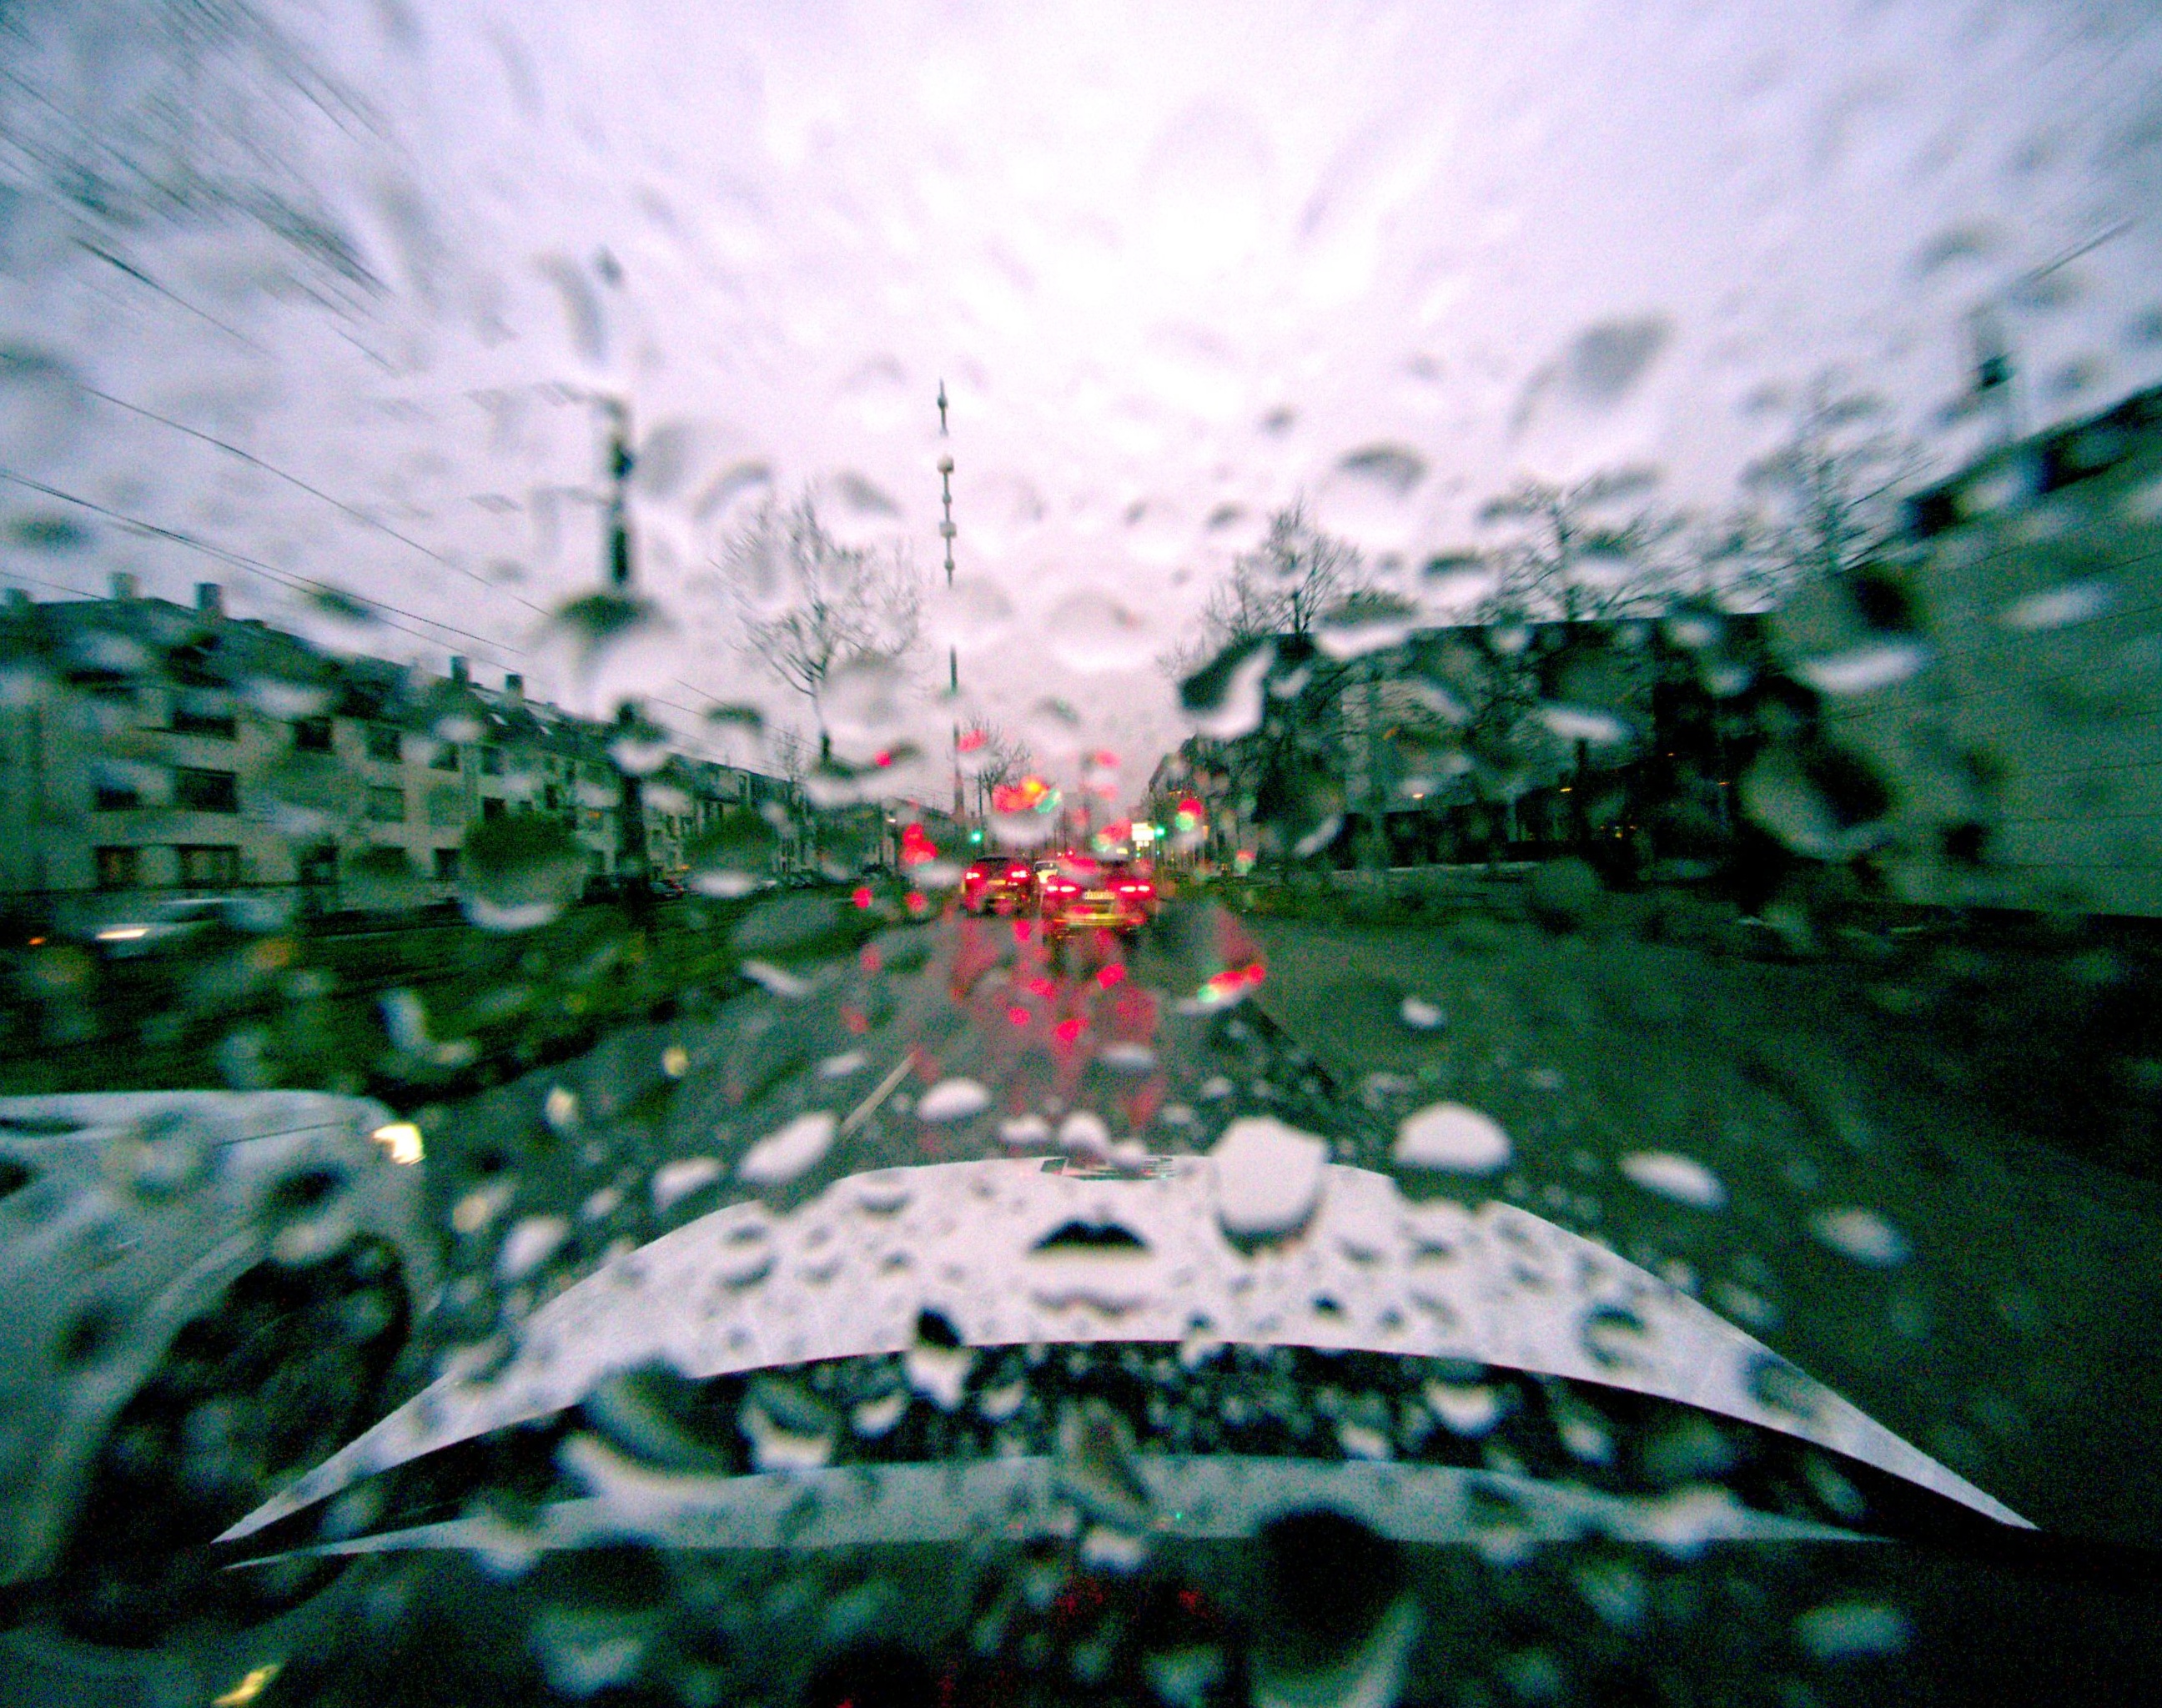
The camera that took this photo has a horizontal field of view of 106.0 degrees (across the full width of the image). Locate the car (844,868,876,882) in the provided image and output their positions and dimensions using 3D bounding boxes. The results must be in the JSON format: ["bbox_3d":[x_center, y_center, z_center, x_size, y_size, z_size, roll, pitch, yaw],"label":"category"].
[{"bbox_3d":[-24.892,2.359,91.621,3.800,1.589,1.753,-1,-1,43],"label":"car"}]

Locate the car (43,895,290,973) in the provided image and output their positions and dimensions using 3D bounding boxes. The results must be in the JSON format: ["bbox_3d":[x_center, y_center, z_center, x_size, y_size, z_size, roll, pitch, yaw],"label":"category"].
[{"bbox_3d":[-21.620,1.826,19.515,1.539,1.504,3.785,-1,-1,2],"label":"car"}]

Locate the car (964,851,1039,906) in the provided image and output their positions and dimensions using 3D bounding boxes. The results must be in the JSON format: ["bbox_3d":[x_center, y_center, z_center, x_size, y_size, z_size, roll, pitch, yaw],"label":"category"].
[{"bbox_3d":[-2.242,0.679,23.857,1.812,1.450,3.999,-1,-1,0],"label":"car"}]

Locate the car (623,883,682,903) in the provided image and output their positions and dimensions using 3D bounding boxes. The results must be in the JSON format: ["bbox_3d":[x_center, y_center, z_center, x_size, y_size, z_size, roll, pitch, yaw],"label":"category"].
[{"bbox_3d":[-26.245,2.373,49.889,3.525,1.141,1.748,-1,-1,34],"label":"car"}]

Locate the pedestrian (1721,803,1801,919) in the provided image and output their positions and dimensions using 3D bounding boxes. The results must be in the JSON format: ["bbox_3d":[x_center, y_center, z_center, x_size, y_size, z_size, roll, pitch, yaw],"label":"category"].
[{"bbox_3d":[9.785,0.100,11.745,0.667,1.625,0.617,-1,-1,17],"label":"pedestrian"}]

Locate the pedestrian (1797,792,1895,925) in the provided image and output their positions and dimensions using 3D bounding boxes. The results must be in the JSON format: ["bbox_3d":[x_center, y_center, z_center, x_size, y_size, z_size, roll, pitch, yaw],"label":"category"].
[{"bbox_3d":[9.587,0.062,10.233,0.667,1.612,0.617,-1,-1,15],"label":"pedestrian"}]

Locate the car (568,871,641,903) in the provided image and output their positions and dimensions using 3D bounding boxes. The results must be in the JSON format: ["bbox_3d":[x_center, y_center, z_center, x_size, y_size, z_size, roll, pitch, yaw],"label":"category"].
[{"bbox_3d":[-26.869,1.817,45.874,4.598,1.723,1.845,-1,-1,35],"label":"car"}]

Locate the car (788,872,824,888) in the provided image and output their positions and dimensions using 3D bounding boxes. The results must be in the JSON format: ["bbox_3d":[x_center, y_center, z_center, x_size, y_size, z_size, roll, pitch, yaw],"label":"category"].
[{"bbox_3d":[-25.312,2.339,74.883,3.342,1.422,1.680,-1,-1,40],"label":"car"}]

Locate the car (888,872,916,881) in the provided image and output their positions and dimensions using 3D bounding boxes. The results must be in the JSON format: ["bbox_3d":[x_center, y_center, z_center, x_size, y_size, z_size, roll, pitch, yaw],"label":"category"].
[{"bbox_3d":[-24.946,3.068,113.501,3.494,1.200,1.894,-1,-1,33],"label":"car"}]

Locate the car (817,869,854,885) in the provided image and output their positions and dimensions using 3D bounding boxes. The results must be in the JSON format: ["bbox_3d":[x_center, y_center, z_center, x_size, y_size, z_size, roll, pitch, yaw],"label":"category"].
[{"bbox_3d":[-25.582,2.387,84.840,4.109,1.541,1.680,-1,-1,37],"label":"car"}]

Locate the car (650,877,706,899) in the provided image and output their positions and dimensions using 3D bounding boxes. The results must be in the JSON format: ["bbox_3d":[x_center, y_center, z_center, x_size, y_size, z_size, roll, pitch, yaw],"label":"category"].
[{"bbox_3d":[-26.046,2.179,52.608,3.534,1.309,1.697,-1,-1,34],"label":"car"}]

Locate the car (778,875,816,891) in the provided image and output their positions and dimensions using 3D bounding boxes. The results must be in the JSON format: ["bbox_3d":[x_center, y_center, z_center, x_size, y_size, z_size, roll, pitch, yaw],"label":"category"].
[{"bbox_3d":[-25.220,2.557,72.306,2.899,1.336,1.749,-1,-1,34],"label":"car"}]

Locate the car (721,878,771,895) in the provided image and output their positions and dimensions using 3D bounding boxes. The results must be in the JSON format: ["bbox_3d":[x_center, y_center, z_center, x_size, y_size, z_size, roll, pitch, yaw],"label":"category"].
[{"bbox_3d":[-25.581,2.479,62.165,3.772,1.172,1.749,-1,-1,34],"label":"car"}]

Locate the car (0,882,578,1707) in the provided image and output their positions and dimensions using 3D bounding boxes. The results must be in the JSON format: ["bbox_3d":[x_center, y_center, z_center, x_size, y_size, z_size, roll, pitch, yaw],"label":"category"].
[{"bbox_3d":[-2.652,0.819,0.744,1.681,1.474,4.005,-1,-1,4],"label":"car"}]

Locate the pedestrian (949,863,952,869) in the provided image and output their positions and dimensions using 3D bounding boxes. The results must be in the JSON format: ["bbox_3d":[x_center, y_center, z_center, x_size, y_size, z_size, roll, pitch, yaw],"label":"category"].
[{"bbox_3d":[-25.384,2.413,158.765,0.348,1.184,0.429,0,-1,-39],"label":"pedestrian"}]

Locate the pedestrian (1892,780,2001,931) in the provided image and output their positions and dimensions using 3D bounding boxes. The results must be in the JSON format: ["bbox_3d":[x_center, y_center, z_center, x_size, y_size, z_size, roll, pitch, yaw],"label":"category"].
[{"bbox_3d":[10.594,0.020,9.995,0.667,1.778,0.617,-1,-1,15],"label":"pedestrian"}]

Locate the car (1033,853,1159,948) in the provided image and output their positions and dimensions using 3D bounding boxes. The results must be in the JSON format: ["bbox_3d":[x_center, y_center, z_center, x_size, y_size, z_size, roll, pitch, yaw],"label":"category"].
[{"bbox_3d":[0.280,0.766,14.713,1.986,1.483,3.700,-1,-1,1],"label":"car"}]

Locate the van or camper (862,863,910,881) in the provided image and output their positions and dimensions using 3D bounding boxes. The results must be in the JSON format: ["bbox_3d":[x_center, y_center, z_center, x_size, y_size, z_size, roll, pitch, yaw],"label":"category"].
[{"bbox_3d":[-25.359,2.319,105.792,6.792,2.360,2.013,-1,-1,35],"label":"van or camper"}]

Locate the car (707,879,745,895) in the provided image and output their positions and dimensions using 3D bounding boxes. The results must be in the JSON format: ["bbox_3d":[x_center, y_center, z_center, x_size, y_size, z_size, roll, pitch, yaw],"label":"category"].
[{"bbox_3d":[-25.764,2.401,59.083,2.361,1.048,1.446,-1,0,34],"label":"car"}]

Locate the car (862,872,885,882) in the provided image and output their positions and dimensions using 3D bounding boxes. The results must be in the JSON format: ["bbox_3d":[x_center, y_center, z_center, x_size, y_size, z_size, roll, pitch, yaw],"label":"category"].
[{"bbox_3d":[-24.979,2.729,98.075,2.851,1.204,1.397,-1,-1,43],"label":"car"}]

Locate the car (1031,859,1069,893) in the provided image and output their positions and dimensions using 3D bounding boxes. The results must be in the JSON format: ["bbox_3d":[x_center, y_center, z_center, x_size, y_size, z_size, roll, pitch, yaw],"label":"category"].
[{"bbox_3d":[-1.499,1.079,40.904,1.683,1.635,3.474,-1,-1,1],"label":"car"}]

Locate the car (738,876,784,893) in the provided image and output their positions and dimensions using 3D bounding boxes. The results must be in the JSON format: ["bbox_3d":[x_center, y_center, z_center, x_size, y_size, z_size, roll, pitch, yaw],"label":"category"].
[{"bbox_3d":[-25.567,2.437,65.022,3.794,1.245,1.748,-1,-1,37],"label":"car"}]
